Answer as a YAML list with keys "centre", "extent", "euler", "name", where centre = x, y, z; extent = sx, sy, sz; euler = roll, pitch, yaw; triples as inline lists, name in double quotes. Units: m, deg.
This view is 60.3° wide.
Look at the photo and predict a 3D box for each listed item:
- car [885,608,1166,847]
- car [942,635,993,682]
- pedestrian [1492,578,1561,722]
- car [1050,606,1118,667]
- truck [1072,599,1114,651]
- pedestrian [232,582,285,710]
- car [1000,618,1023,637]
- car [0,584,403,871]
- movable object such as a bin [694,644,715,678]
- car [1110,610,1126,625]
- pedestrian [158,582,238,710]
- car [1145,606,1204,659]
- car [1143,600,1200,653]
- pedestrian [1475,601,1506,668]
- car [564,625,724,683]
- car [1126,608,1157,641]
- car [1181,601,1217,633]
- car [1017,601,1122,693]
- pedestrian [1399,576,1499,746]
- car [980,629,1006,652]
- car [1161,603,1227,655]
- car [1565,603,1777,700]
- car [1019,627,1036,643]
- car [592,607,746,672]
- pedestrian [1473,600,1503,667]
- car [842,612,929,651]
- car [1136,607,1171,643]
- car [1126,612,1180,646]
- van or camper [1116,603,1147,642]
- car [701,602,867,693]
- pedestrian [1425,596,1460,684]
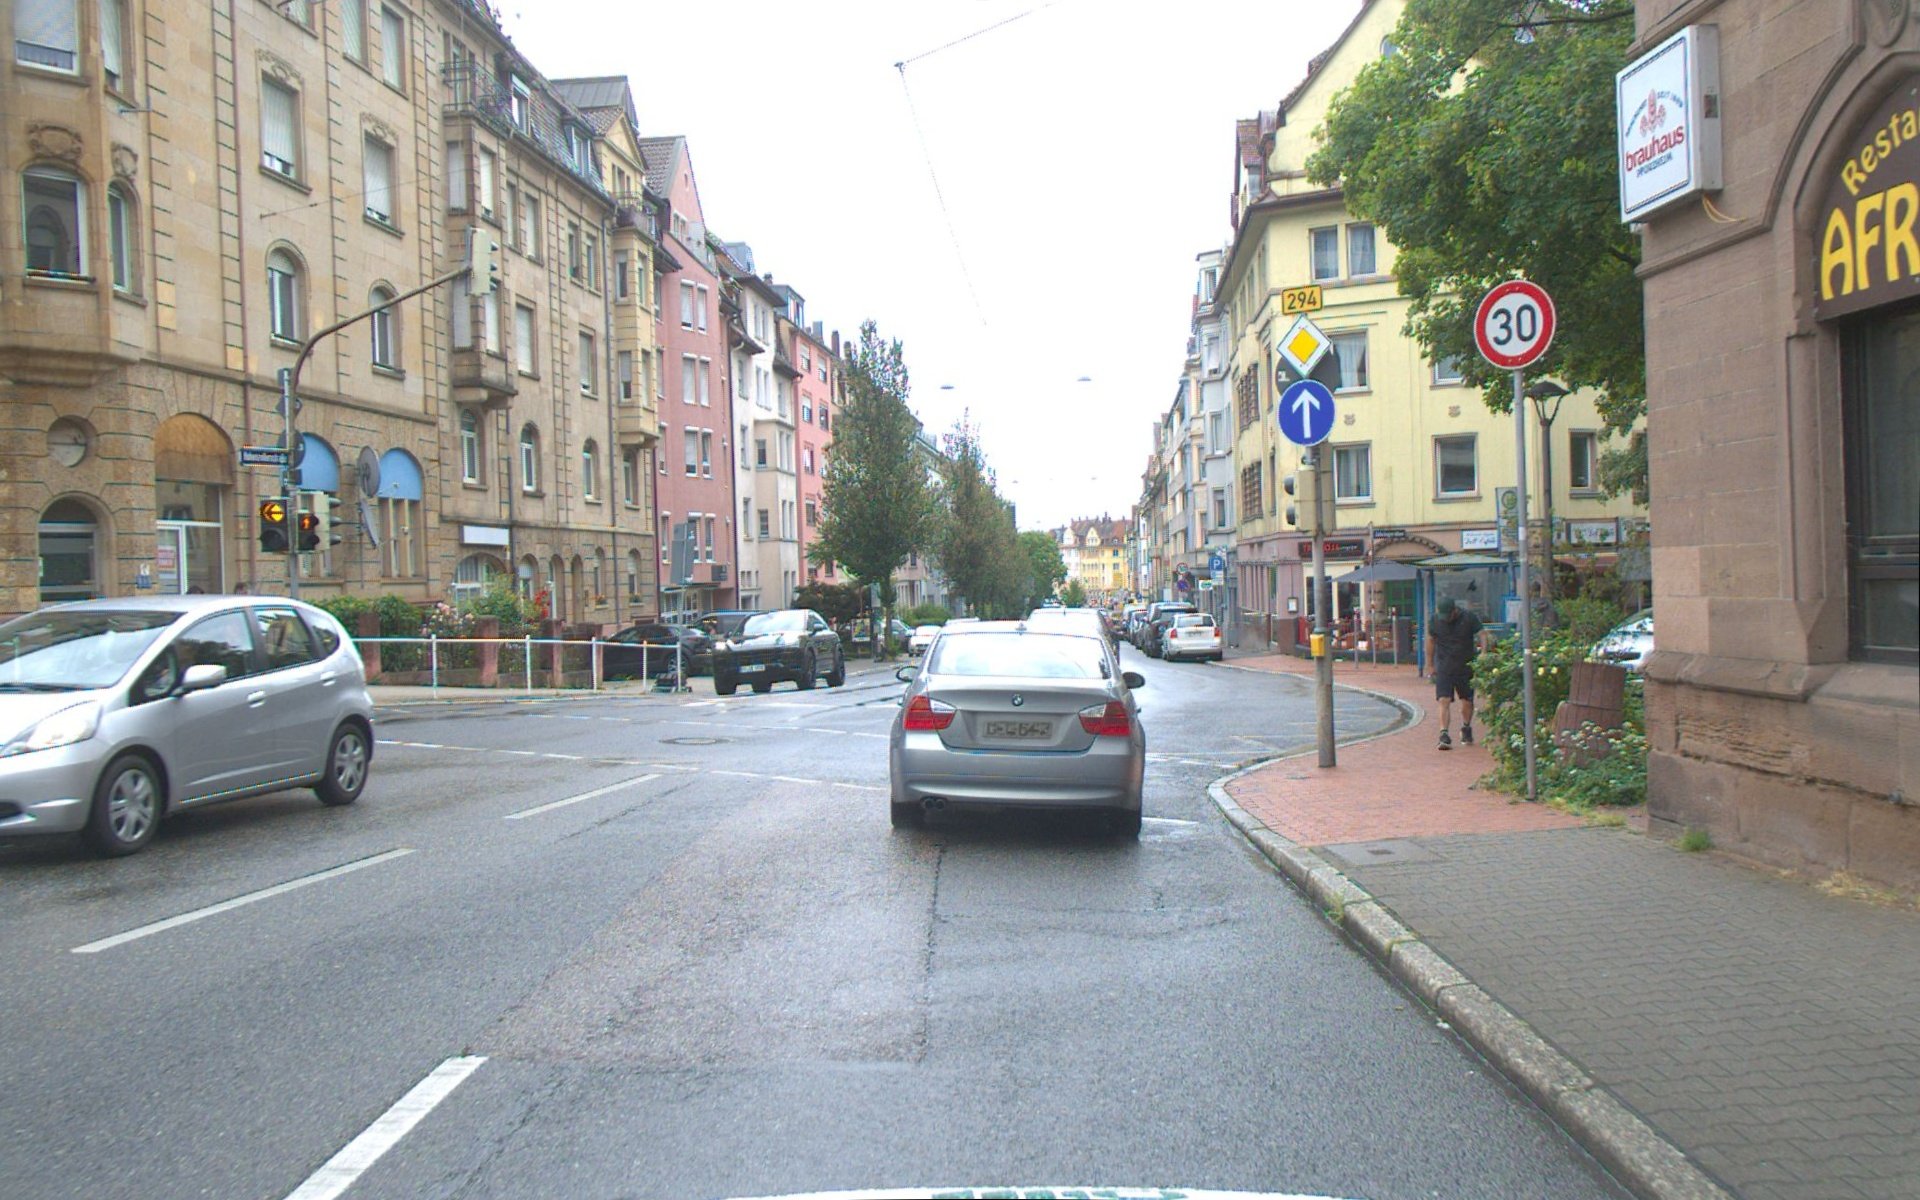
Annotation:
- centre: [0.446, 0.794, 12.097]
  extent: [1.733, 1.453, 3.741]
  euler: [0, 0, 1]
  name: "car"
- centre: [0.336, 2.292, 65.889]
  extent: [1.587, 1.678, 4.422]
  euler: [-5, -2, 5]
  name: "car"
- centre: [7.077, 0.615, 20.657]
  extent: [0.564, 1.764, 0.726]
  euler: [-1, -1, 44]
  name: "pedestrian"
- centre: [3.169, 0.948, 42.710]
  extent: [1.662, 1.509, 3.794]
  euler: [0, -2, 3]
  name: "car"
- centre: [6.485, 1.272, 80.858]
  extent: [1.989, 2.455, 4.829]
  euler: [0, -2, 4]
  name: "truck"
- centre: [-10.092, 0.656, 23.809]
  extent: [0.682, 1.805, 0.520]
  euler: [1, -1, -23]
  name: "pedestrian"
- centre: [4.725, 2.502, 151.393]
  extent: [1.789, 1.550, 3.738]
  euler: [-4, -1, 6]
  name: "car"
- centre: [-5.370, 0.700, 10.938]
  extent: [1.590, 1.545, 3.874]
  euler: [0, 0, 9]
  name: "car"
- centre: [-7.495, 1.786, 48.541]
  extent: [0.494, 0.967, 0.441]
  euler: [0, -1, 10]
  name: "movable object such as a bin"
- centre: [18.837, 2.102, 197.795]
  extent: [1.839, 1.762, 4.442]
  euler: [0, -1, 5]
  name: "car"
- centre: [-10.517, 0.624, 22.829]
  extent: [0.628, 1.732, 0.823]
  euler: [-1, -1, 45]
  name: "pedestrian"
- centre: [7.465, 1.144, 57.838]
  extent: [1.839, 1.762, 4.679]
  euler: [0, -1, 5]
  name: "car"
- centre: [8.133, 1.042, 63.887]
  extent: [1.879, 1.859, 5.011]
  euler: [-3, -1, 5]
  name: "car"
- centre: [10.320, 0.665, 32.192]
  extent: [0.557, 1.302, 0.534]
  euler: [0, -1, 17]
  name: "pedestrian"
- centre: [-8.897, 1.512, 46.809]
  extent: [4.059, 1.537, 1.874]
  euler: [-1, -1, 5]
  name: "car"
- centre: [12.760, 1.762, 116.693]
  extent: [1.940, 2.204, 4.752]
  euler: [-3, -1, 5]
  name: "car"
- centre: [13.709, 0.986, 95.092]
  extent: [1.690, 1.699, 4.290]
  euler: [-4, -2, 5]
  name: "car"
- centre: [1.931, 0.803, 28.361]
  extent: [1.646, 1.453, 3.743]
  euler: [0, -2, 6]
  name: "car"
- centre: [5.085, 0.618, 17.194]
  extent: [0.813, 1.708, 0.892]
  euler: [0, -1, 30]
  name: "pedestrian"
- centre: [2.577, 3.168, 129.308]
  extent: [1.730, 1.621, 4.001]
  euler: [-4, -1, 4]
  name: "car"
- centre: [7.372, 0.930, 52.451]
  extent: [1.761, 1.592, 4.494]
  euler: [0, -1, 4]
  name: "car"
- centre: [12.247, 0.887, 28.435]
  extent: [3.633, 1.529, 1.749]
  euler: [2, -1, -36]
  name: "car"
- centre: [7.454, 3.857, 181.783]
  extent: [1.602, 1.534, 3.756]
  euler: [-5, -2, 5]
  name: "car"
- centre: [-9.056, 1.236, 51.768]
  extent: [4.583, 1.973, 1.861]
  euler: [0, -1, -5]
  name: "car"
- centre: [10.476, 0.663, 32.830]
  extent: [0.557, 1.302, 0.619]
  euler: [0, -1, 17]
  name: "pedestrian"
- centre: [-4.321, 1.827, 96.282]
  extent: [4.727, 2.008, 2.049]
  euler: [-3, -2, 5]
  name: "car"
- centre: [11.934, 1.564, 102.347]
  extent: [1.940, 2.042, 4.627]
  euler: [-3, -1, 5]
  name: "car"
- centre: [8.819, 1.357, 75.813]
  extent: [1.837, 1.493, 4.773]
  euler: [0, -1, -1]
  name: "car"
- centre: [13.214, 1.726, 127.049]
  extent: [1.990, 2.919, 6.890]
  euler: [1, -1, 8]
  name: "van or camper"
- centre: [-3.549, 0.996, 34.284]
  extent: [1.923, 1.723, 4.811]
  euler: [-1, -2, 13]
  name: "car"
- centre: [9.993, 0.822, 34.249]
  extent: [0.548, 1.806, 0.544]
  euler: [0, -1, 33]
  name: "pedestrian"
